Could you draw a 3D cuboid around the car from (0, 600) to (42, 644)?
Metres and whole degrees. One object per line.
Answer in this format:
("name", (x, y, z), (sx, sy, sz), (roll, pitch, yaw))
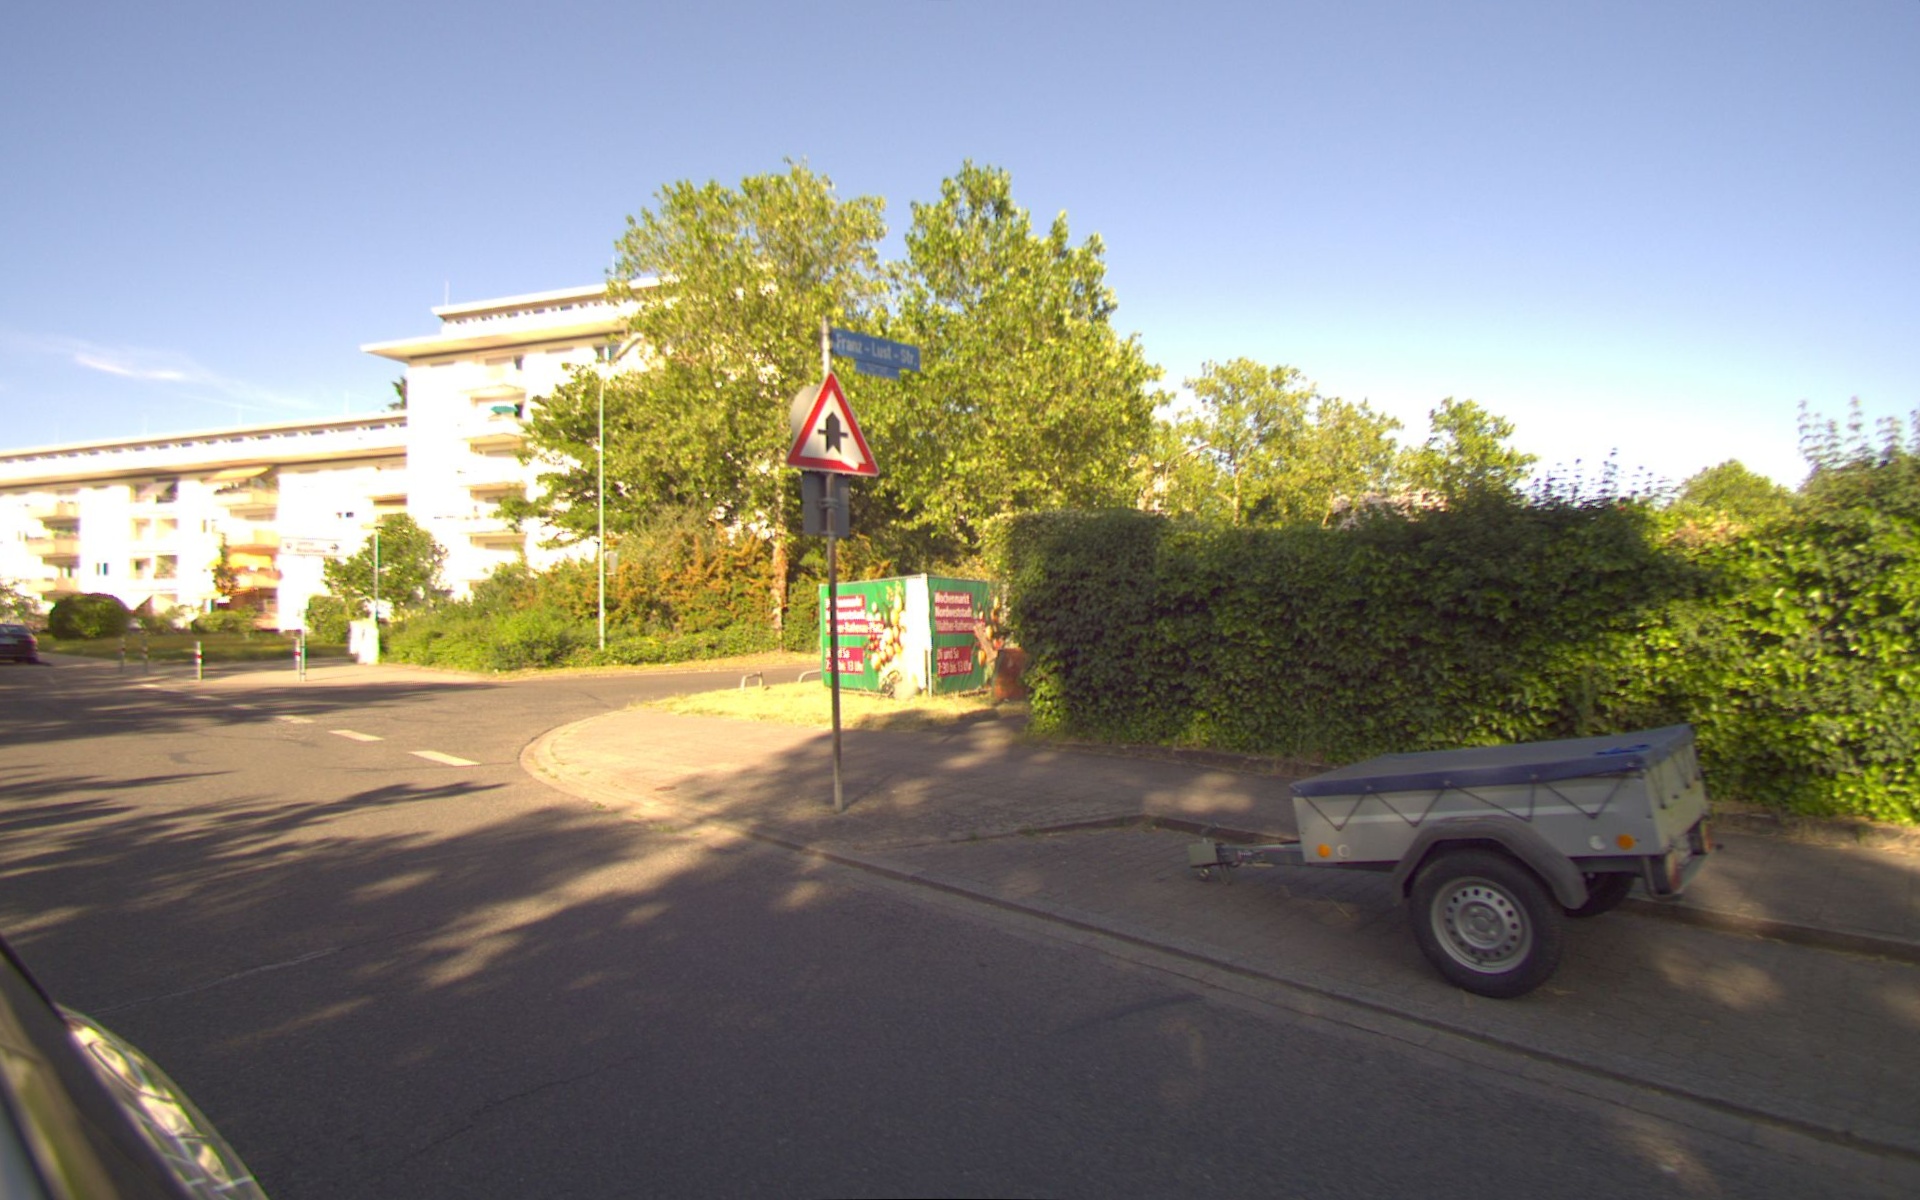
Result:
("car", (-34.448, 0.817, 36.228), (4.678, 1.475, 1.710), (-2, -4, 40))

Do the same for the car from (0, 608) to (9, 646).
("car", (-39.573, 1.061, 40.485), (4.017, 1.465, 1.820), (-2, -4, 42))

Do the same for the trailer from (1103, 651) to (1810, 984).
("trailer", (2.203, 0.790, 4.821), (1.525, 0.960, 2.650), (0, 0, -42))
